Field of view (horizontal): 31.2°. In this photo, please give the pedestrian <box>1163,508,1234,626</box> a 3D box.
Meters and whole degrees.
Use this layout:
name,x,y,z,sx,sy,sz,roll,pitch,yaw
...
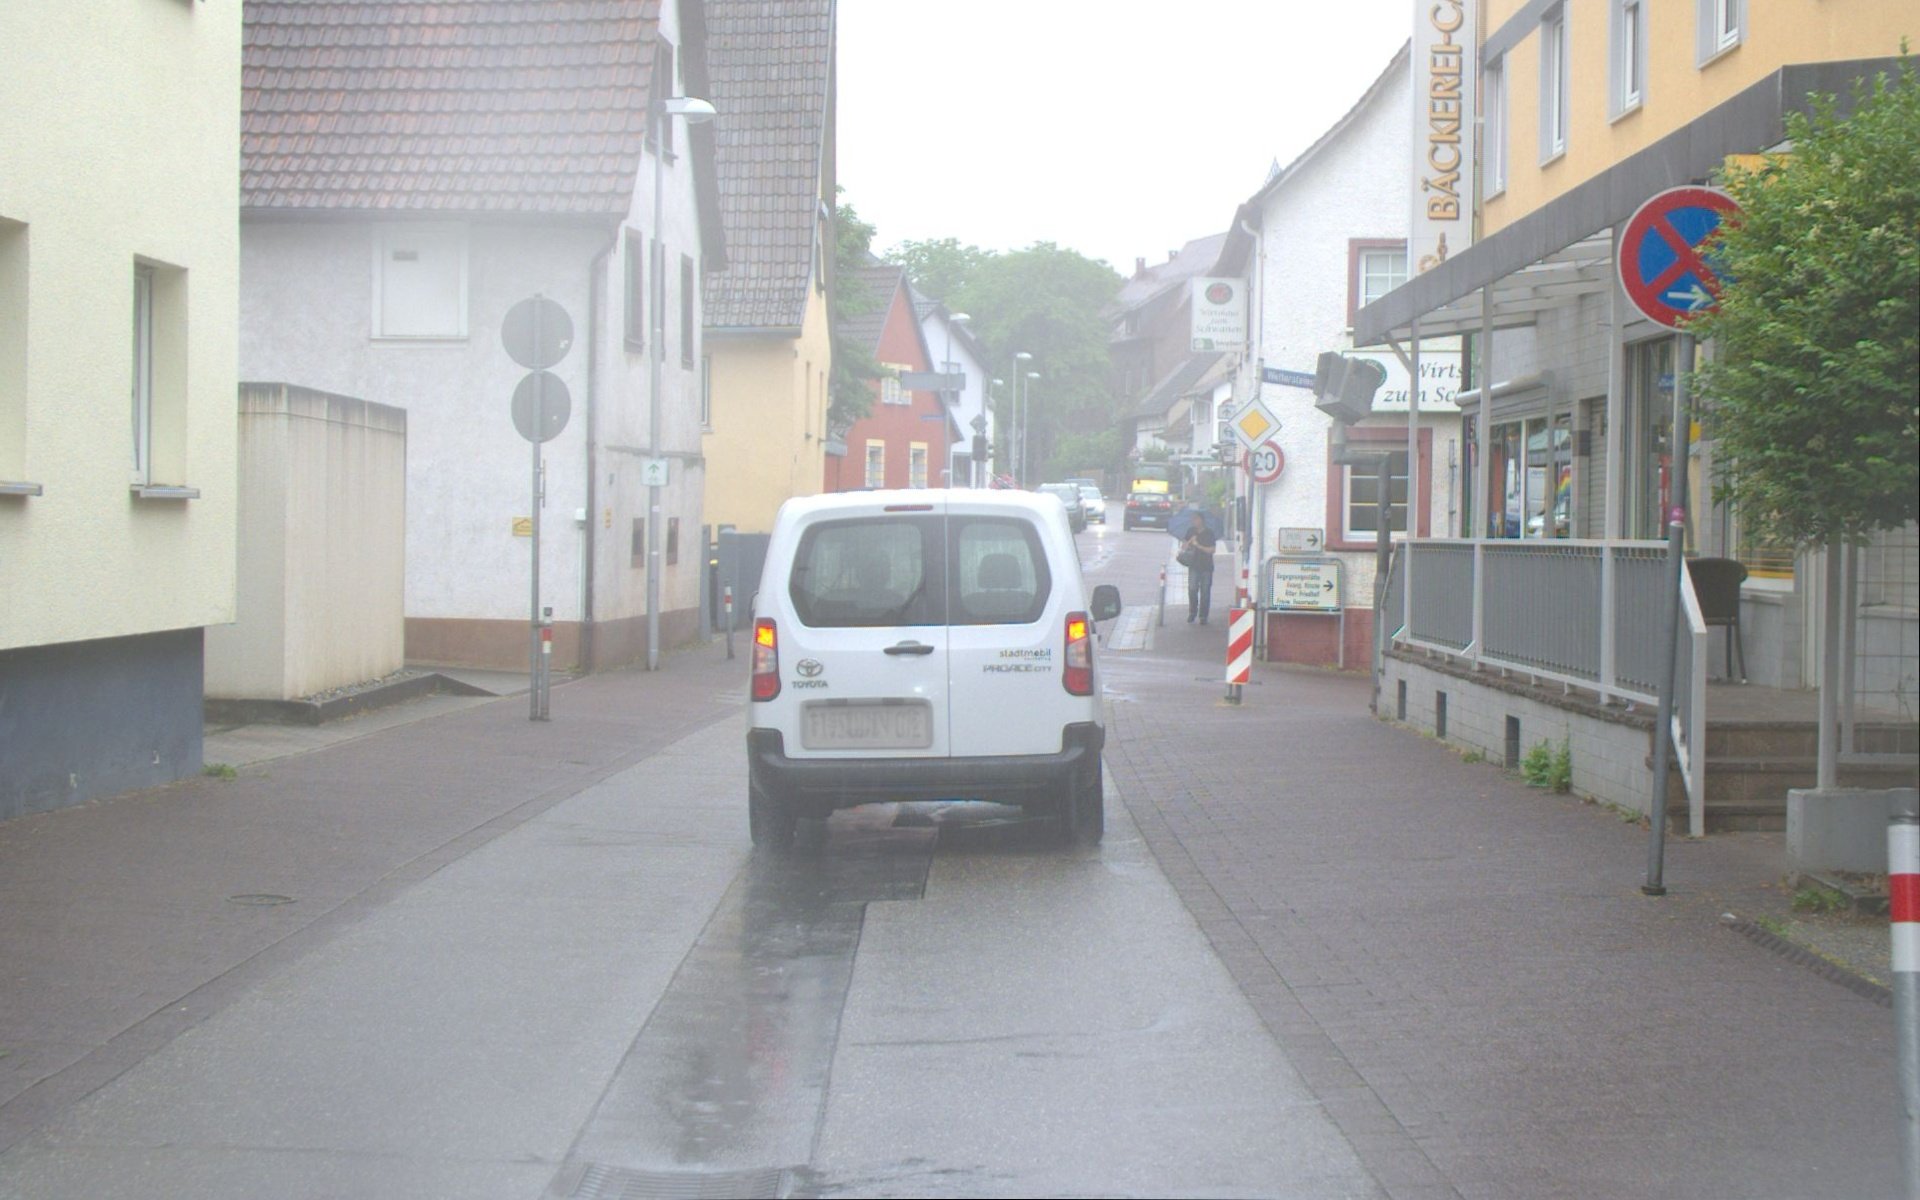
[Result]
name,x,y,z,sx,sy,sz,roll,pitch,yaw
pedestrian,3.622,-0.503,52.152,0.994,1.730,0.811,1,4,7

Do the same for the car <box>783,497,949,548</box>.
name,x,y,z,sx,sy,sz,roll,pitch,yaw
car,-2.554,-2.090,93.356,3.987,1.368,2.111,0,1,-33

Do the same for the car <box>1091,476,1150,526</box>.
name,x,y,z,sx,sy,sz,roll,pitch,yaw
car,5.702,-3.505,122.181,1.993,1.741,4.000,1,1,1

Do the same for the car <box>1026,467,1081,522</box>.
name,x,y,z,sx,sy,sz,roll,pitch,yaw
car,3.193,-3.552,116.716,1.812,1.773,4.017,1,1,2

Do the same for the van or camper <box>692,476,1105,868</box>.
name,x,y,z,sx,sy,sz,roll,pitch,yaw
van or camper,-0.267,0.316,18.449,1.943,1.845,4.000,1,1,1
